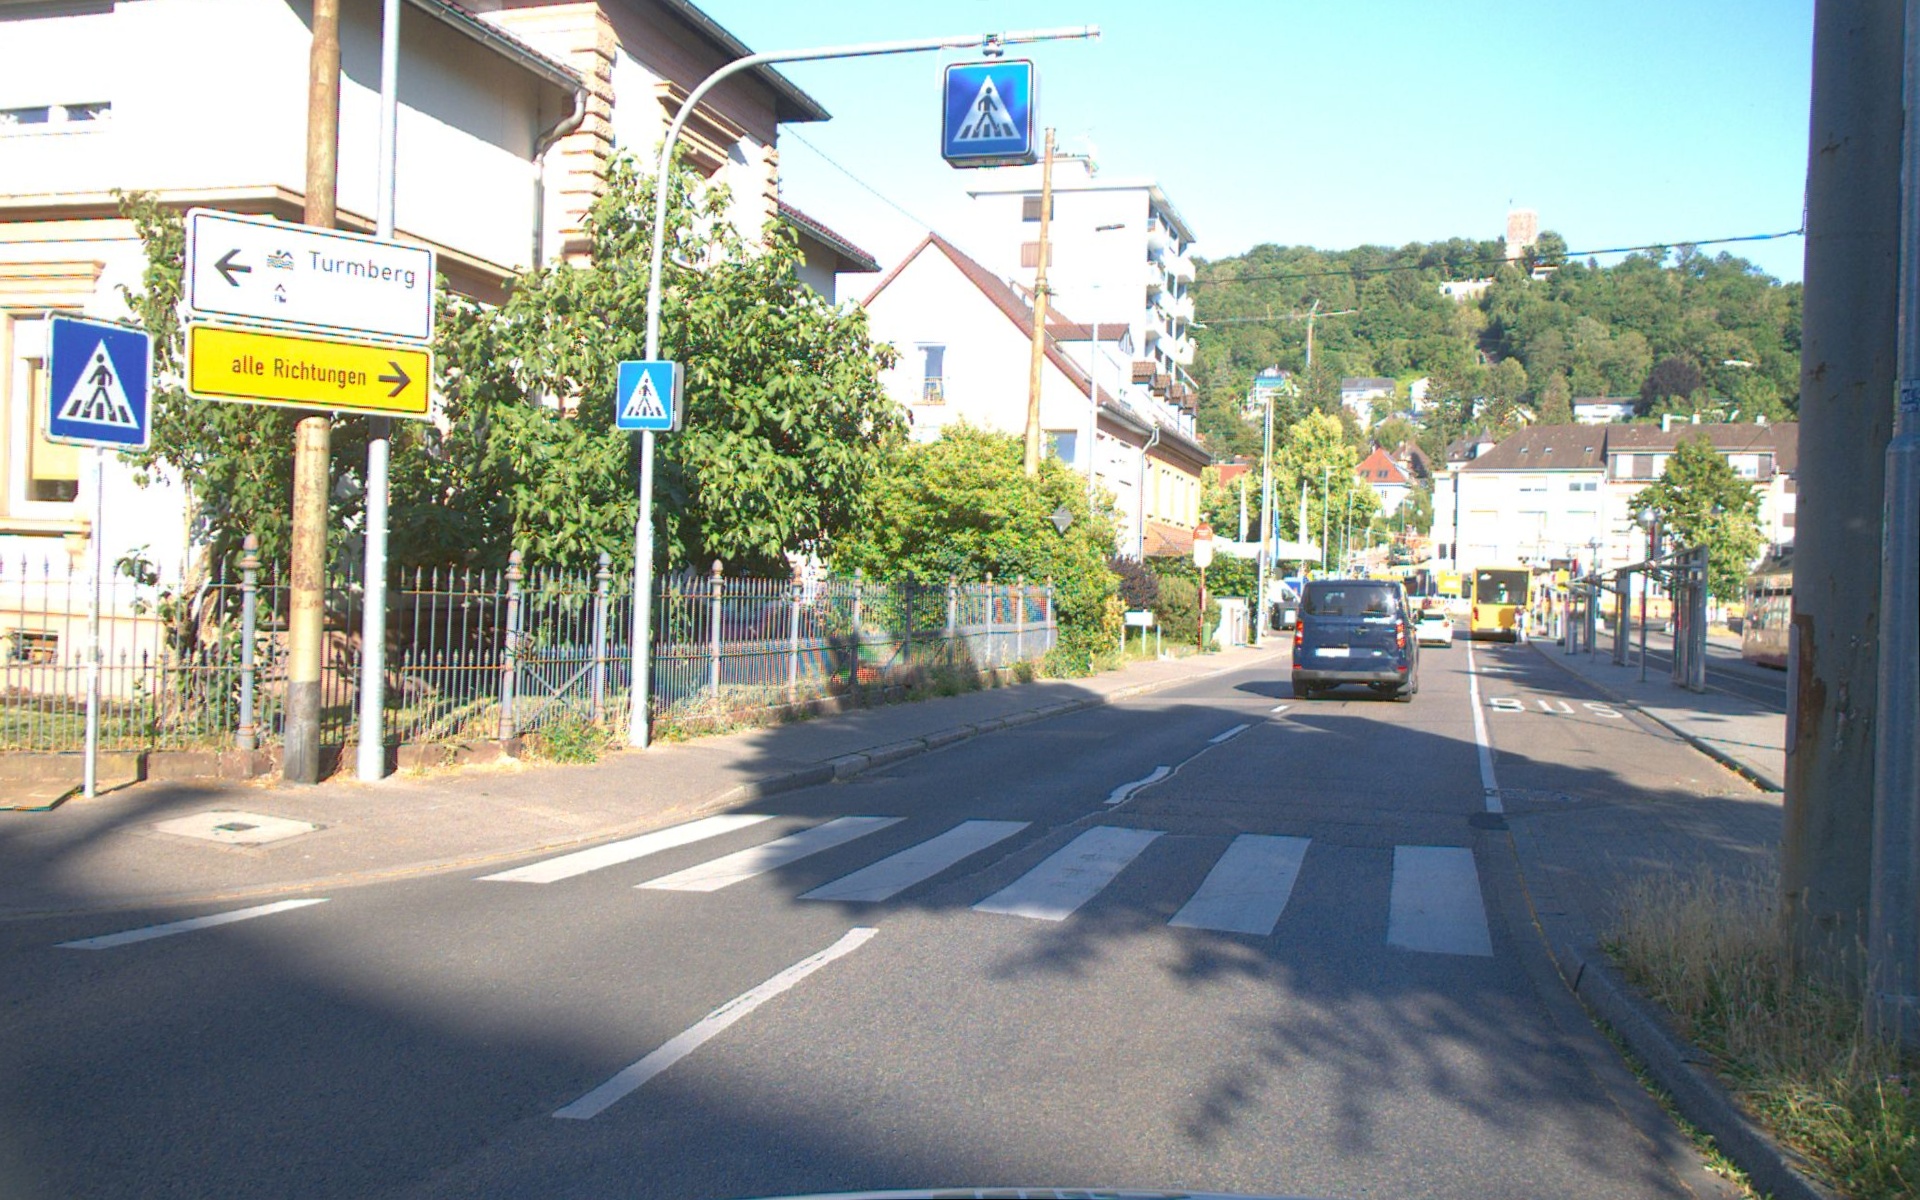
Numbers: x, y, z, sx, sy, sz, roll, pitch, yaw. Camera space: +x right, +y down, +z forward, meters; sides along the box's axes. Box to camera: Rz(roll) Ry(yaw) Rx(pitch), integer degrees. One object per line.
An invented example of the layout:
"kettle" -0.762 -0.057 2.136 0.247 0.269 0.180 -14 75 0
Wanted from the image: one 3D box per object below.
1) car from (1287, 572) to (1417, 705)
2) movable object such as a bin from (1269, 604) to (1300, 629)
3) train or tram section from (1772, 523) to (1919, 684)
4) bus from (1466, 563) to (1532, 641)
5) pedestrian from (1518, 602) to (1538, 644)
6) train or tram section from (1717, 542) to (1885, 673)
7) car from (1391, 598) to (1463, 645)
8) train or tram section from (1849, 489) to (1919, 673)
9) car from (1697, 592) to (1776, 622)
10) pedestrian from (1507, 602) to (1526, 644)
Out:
"car" 6.859 0.618 28.658 1.951 2.048 4.003 2 0 16
"movable object such as a bin" 16.590 0.830 84.584 1.396 1.249 0.960 2 0 6
"train or tram section" 23.154 0.072 42.012 2.717 3.617 9.926 2 1 16
"bus" 25.093 0.148 77.329 2.647 3.348 10.216 2 0 17
"pedestrian" 24.391 0.996 71.034 0.538 1.798 0.546 2 -1 -35
"train or tram section" 25.940 0.175 51.524 2.717 3.617 9.926 2 1 16
"car" 18.503 0.842 65.683 1.951 1.747 4.002 2 0 5
"train or tram section" 20.269 -0.348 32.492 2.717 3.617 9.927 2 1 15
"car" 57.737 0.490 123.126 5.105 2.049 2.000 2 0 21
"pedestrian" 24.070 0.987 71.548 0.538 1.798 0.546 2 -1 -35
